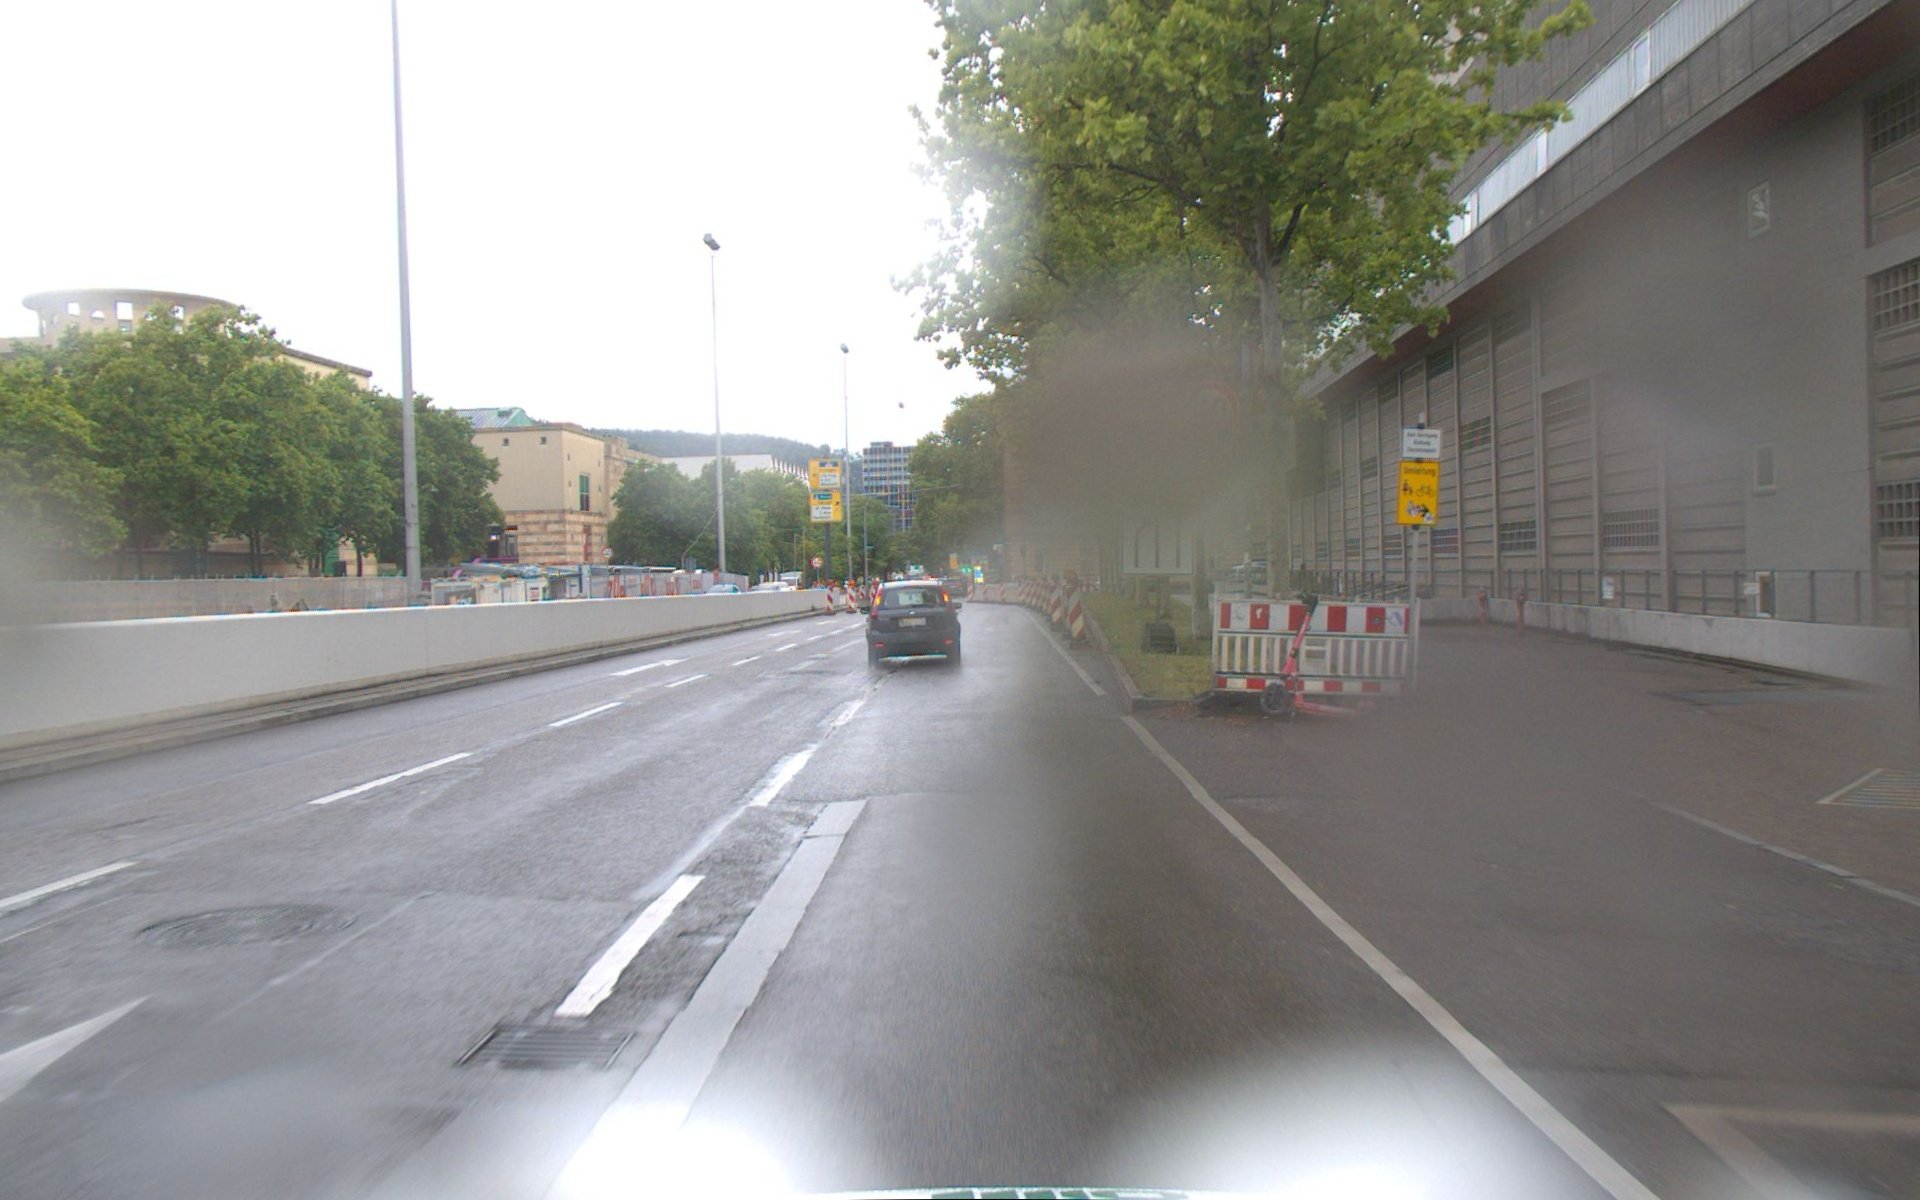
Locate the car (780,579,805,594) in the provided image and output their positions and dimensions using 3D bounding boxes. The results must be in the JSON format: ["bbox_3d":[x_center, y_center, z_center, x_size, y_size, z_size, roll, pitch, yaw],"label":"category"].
[{"bbox_3d":[-13.489,-1.100,133.489,1.592,1.216,3.406,0,1,1],"label":"car"}]

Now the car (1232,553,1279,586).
[{"bbox_3d":[17.583,-1.794,98.598,1.952,1.790,5.098,-2,-1,2],"label":"car"}]

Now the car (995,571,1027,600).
[{"bbox_3d":[3.268,-0.949,106.562,1.952,1.738,4.001,-1,1,1],"label":"car"}]

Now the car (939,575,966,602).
[{"bbox_3d":[-0.564,-0.942,130.022,1.952,2.048,4.001,-1,1,1],"label":"car"}]

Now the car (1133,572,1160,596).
[{"bbox_3d":[14.244,-1.203,126.369,1.951,1.738,4.003,0,0,6],"label":"car"}]

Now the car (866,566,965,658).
[{"bbox_3d":[-0.842,0.162,29.562,1.637,1.452,3.756,1,2,-3],"label":"car"}]

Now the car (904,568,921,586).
[{"bbox_3d":[-5.791,-2.733,200.712,1.954,2.049,3.997,0,-1,-3],"label":"car"}]

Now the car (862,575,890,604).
[{"bbox_3d":[-4.375,-0.552,86.015,1.358,1.410,3.065,-2,0,-3],"label":"car"}]

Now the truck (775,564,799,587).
[{"bbox_3d":[-18.633,-2.612,178.103,2.368,2.380,5.434,0,-1,-8],"label":"truck"}]

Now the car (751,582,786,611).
[{"bbox_3d":[-13.657,-0.276,118.029,1.952,2.049,4.001,0,1,1],"label":"car"}]

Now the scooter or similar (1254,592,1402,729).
[{"bbox_3d":[3.587,0.585,16.190,1.327,1.308,0.619,0,-1,3],"label":"scooter or similar"}]
